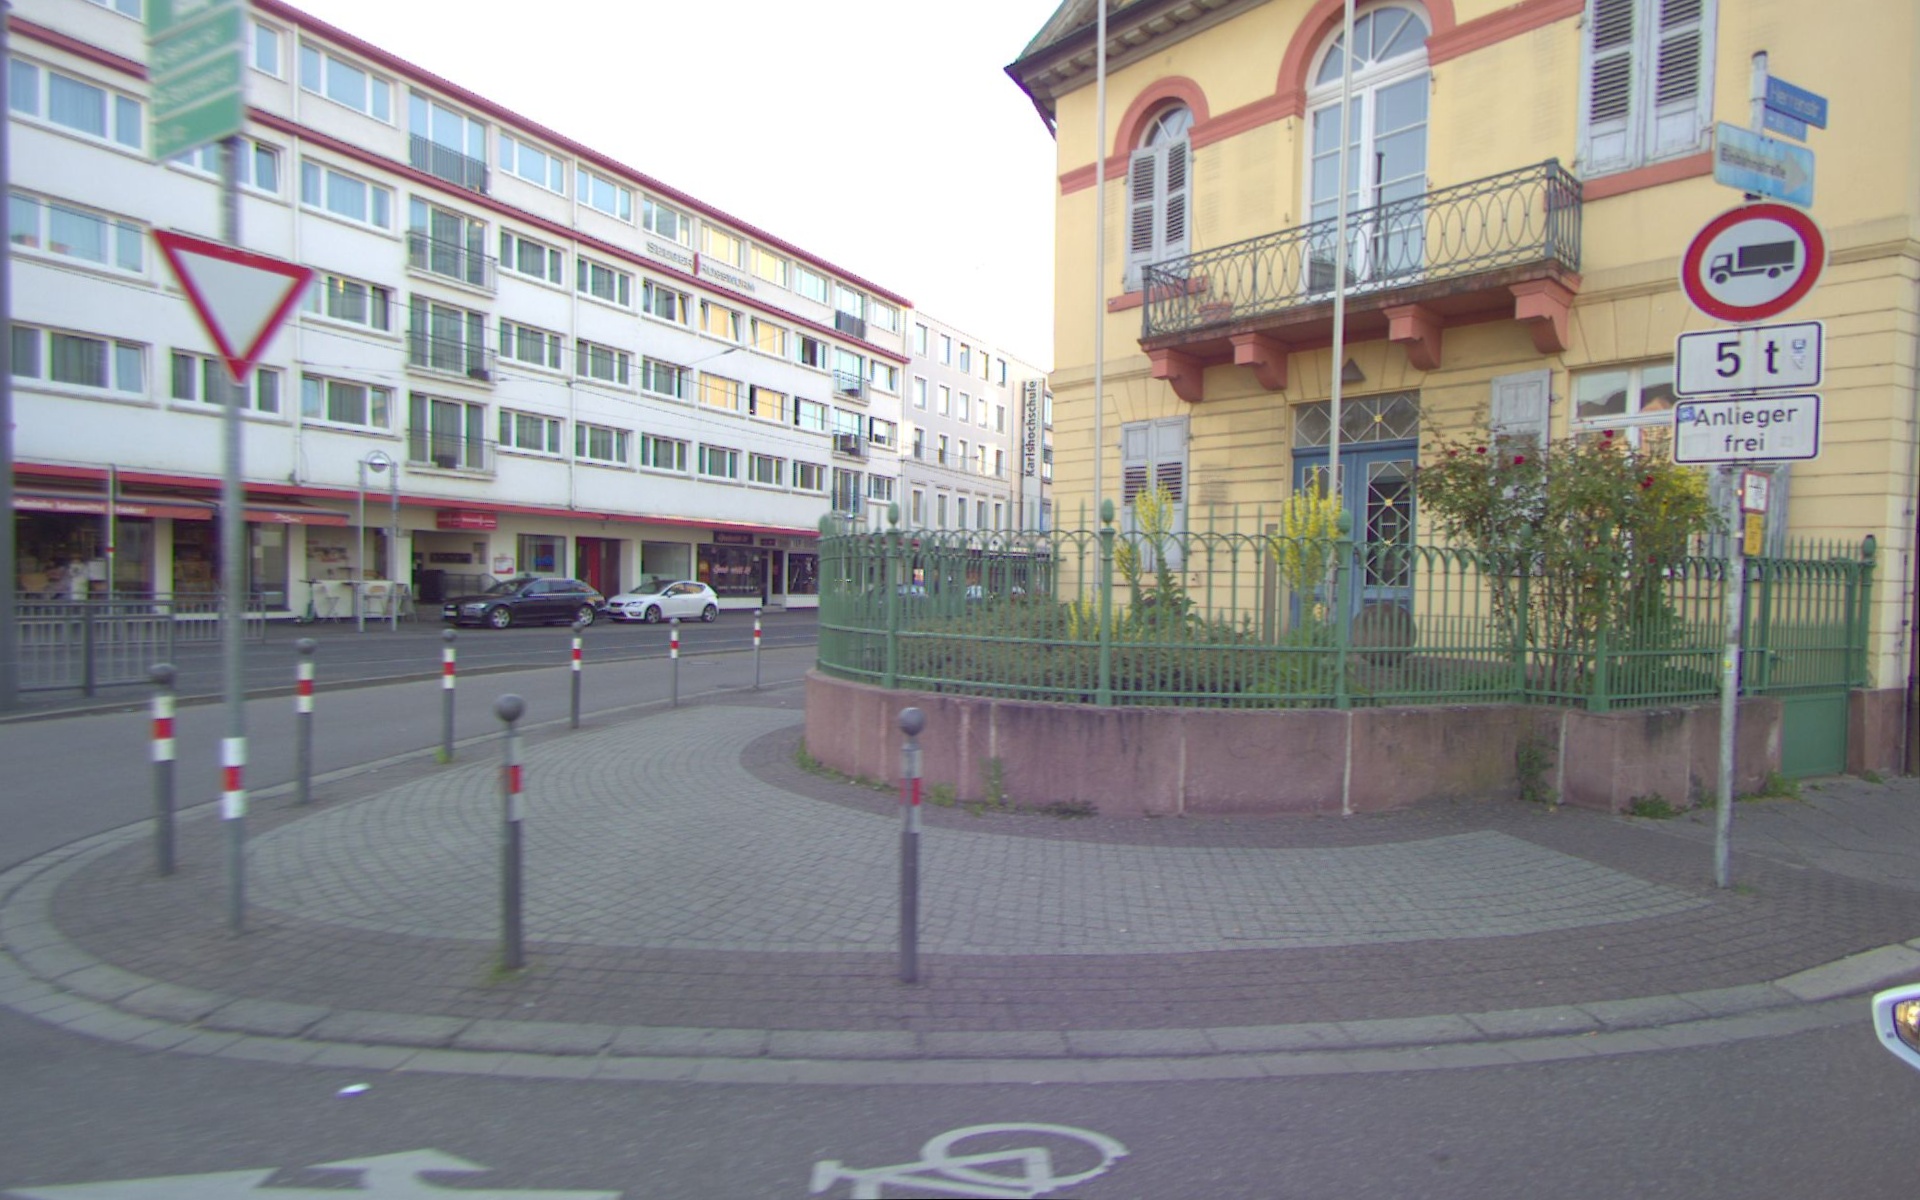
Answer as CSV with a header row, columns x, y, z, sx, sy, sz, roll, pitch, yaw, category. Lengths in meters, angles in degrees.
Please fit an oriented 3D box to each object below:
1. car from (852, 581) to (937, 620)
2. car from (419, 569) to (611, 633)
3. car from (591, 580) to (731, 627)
x,y,z,sx,sy,sz,roll,pitch,yaw,category
-3.002,-0.002,46.668,1.965,1.688,3.990,2,1,32,car
-12.760,0.015,29.151,1.965,1.688,4.827,2,1,32,car
-10.106,0.083,34.238,1.965,1.484,4.390,2,1,32,car
